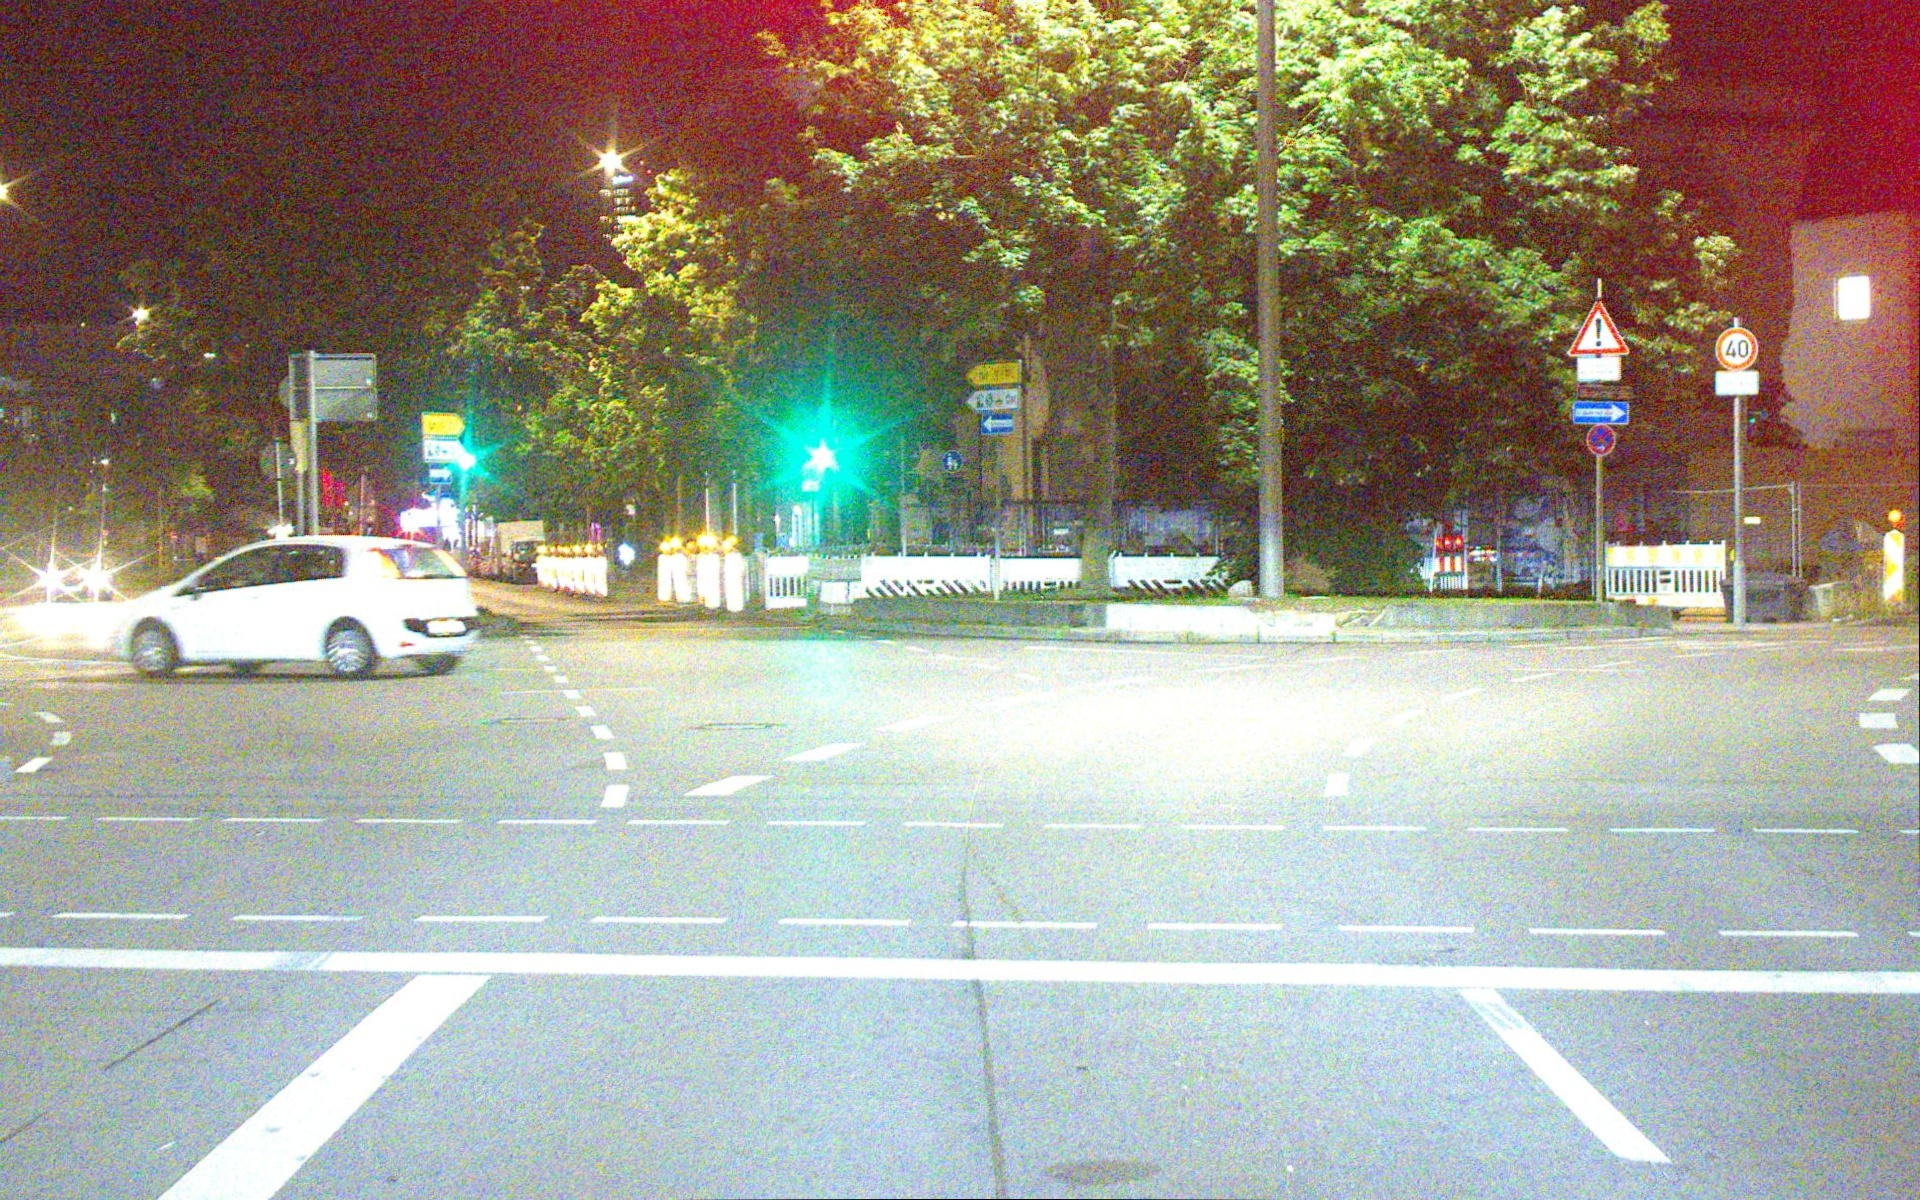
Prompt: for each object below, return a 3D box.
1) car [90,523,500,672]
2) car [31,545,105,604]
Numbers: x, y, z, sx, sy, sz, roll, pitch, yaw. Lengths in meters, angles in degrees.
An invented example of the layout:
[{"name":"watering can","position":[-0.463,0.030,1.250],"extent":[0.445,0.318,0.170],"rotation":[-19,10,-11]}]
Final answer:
[{"name":"car","position":[-6.961,-0.032,35.944],"extent":[3.992,1.486,1.706],"rotation":[0,1,26]},{"name":"car","position":[-26.713,-0.770,103.043],"extent":[1.757,1.722,3.548],"rotation":[0,1,-8]}]
